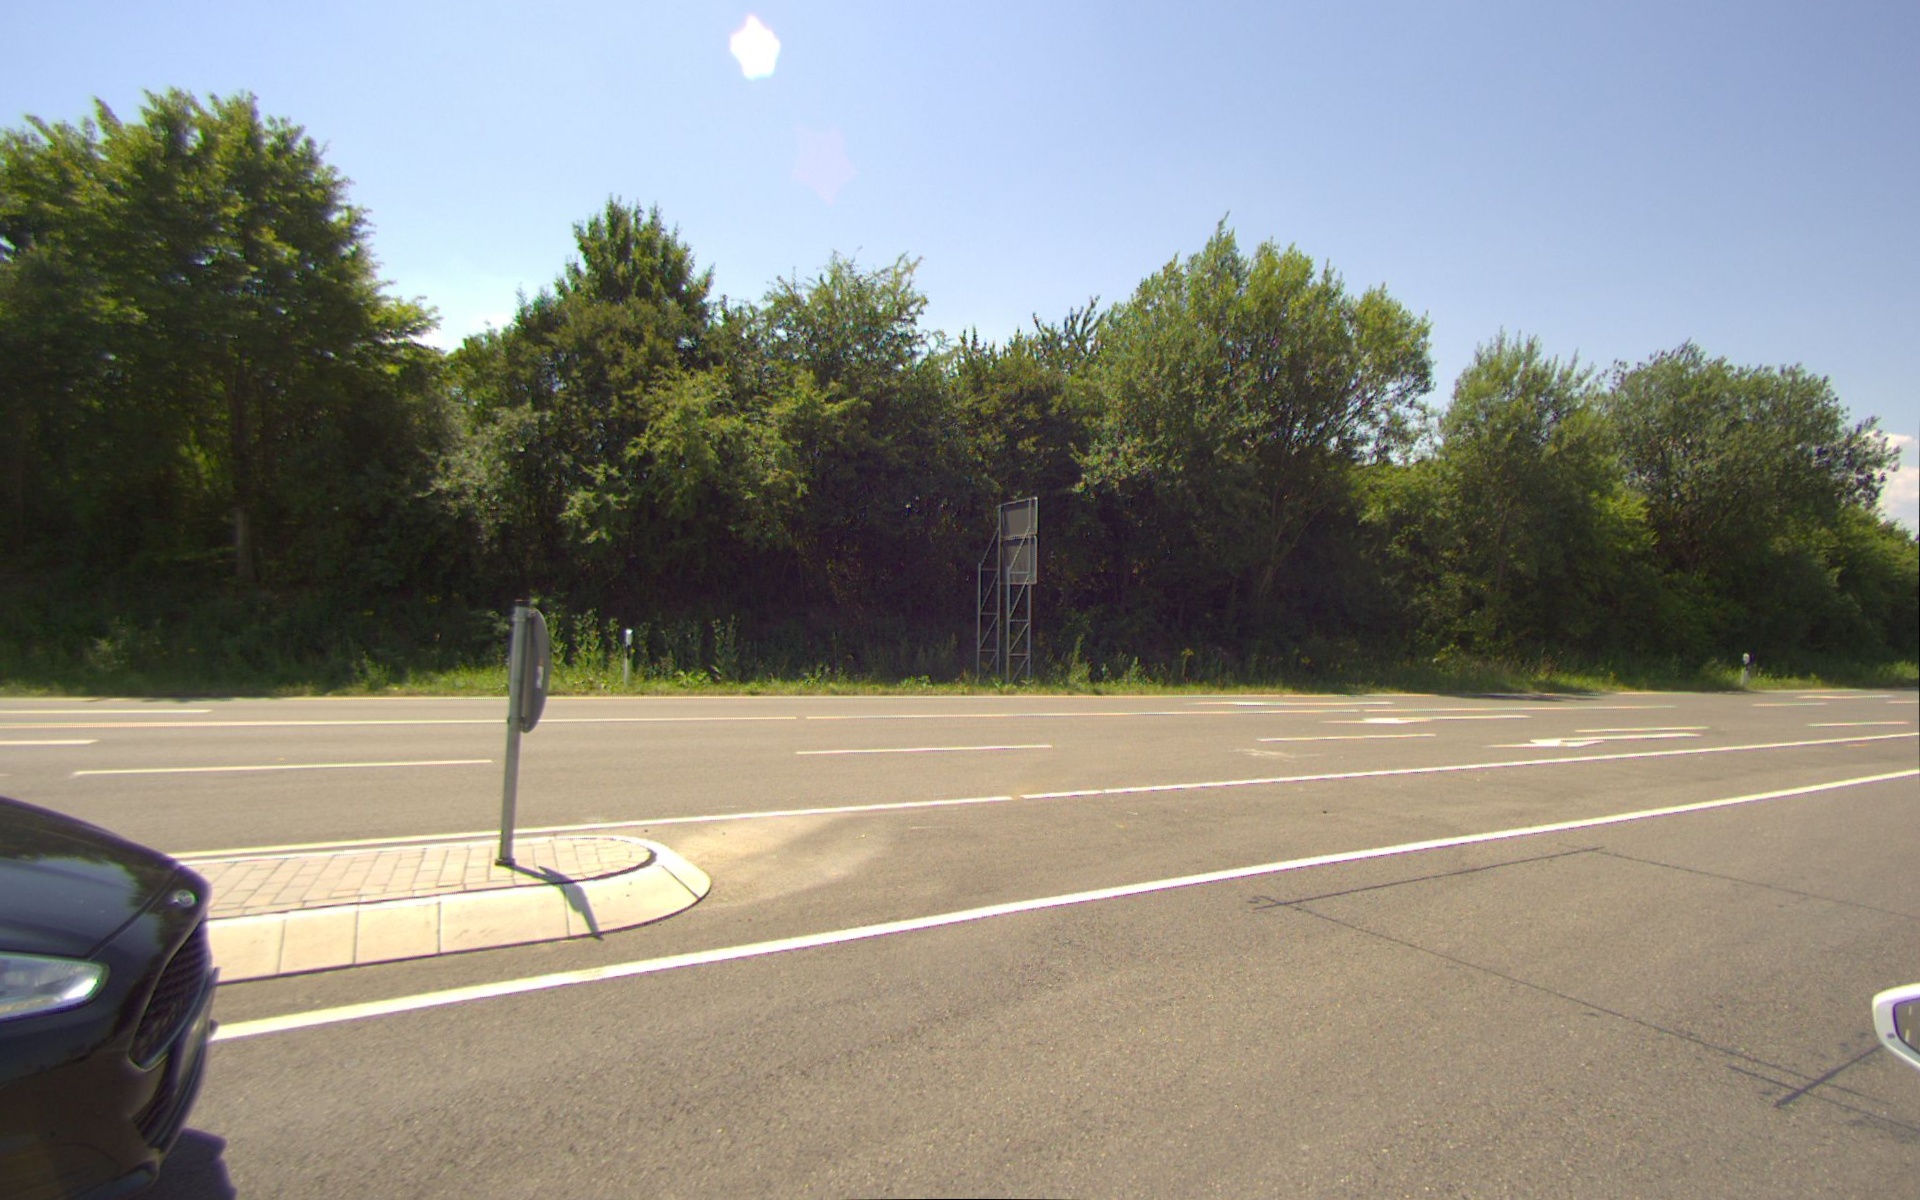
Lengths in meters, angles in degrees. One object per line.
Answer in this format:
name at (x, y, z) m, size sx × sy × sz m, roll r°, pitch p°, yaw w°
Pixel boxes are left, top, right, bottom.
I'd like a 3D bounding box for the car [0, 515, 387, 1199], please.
car at (-3.269, 0.606, 1.493) m, size 4.157 × 1.514 × 1.645 m, roll 1°, pitch 0°, yaw -30°
